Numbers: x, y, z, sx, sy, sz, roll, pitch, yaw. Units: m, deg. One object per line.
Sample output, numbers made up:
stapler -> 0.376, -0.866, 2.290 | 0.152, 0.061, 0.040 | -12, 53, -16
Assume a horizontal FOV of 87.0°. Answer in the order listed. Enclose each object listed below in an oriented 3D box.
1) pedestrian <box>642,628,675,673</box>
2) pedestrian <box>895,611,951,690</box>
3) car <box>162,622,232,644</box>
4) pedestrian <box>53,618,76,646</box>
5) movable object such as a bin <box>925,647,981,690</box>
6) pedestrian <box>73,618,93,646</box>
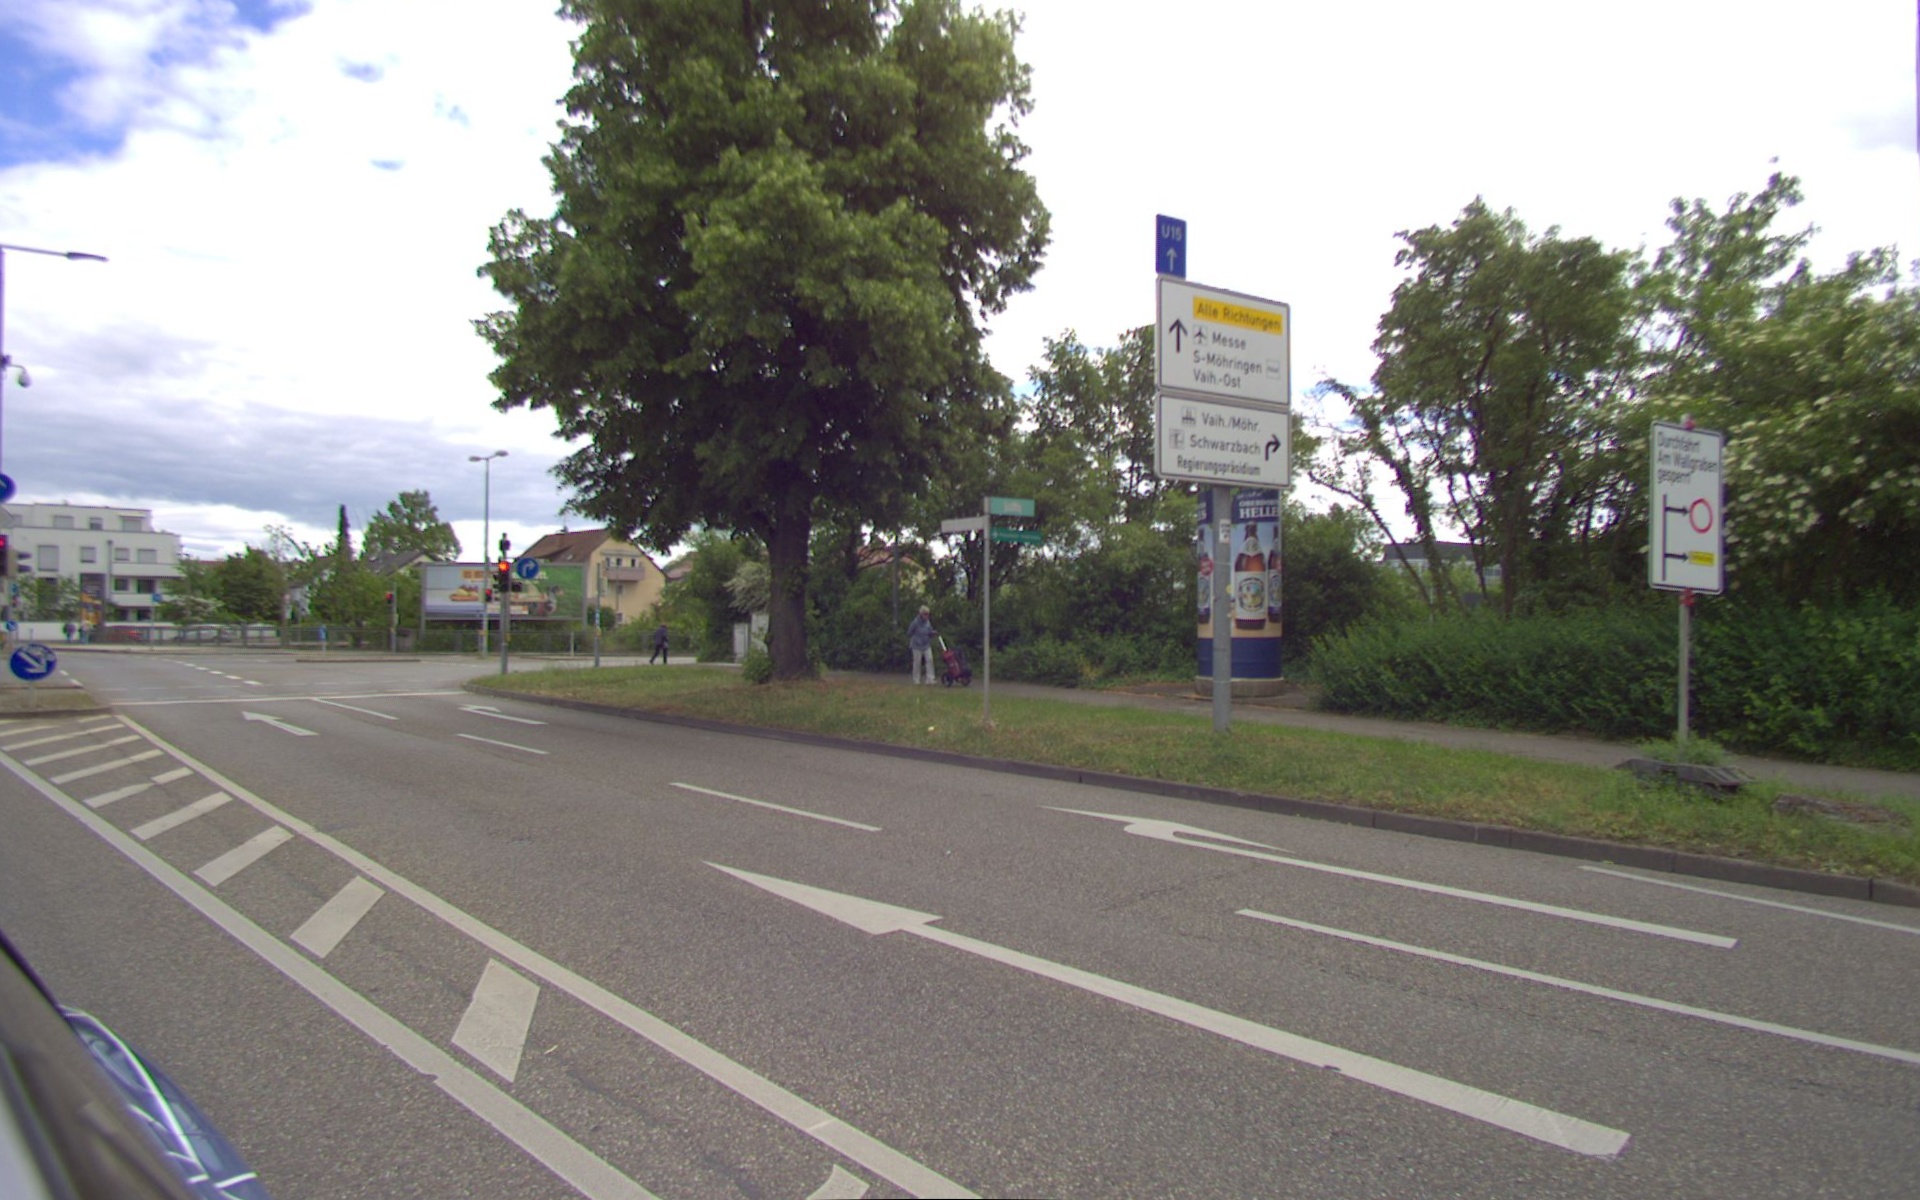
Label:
pedestrian -> -9.827, 1.633, 32.980 | 0.598, 1.418, 0.767 | 4, 1, 31
pedestrian -> -0.743, 1.000, 20.324 | 0.923, 1.534, 0.649 | -1, -3, 40
car -> -60.895, 2.663, 80.866 | 4.061, 1.547, 1.651 | 2, -4, -13
pedestrian -> -52.908, 1.877, 59.813 | 1.065, 1.646, 0.652 | -1, -1, 26
movable object such as a bin -> -0.134, 1.334, 19.804 | 0.896, 0.804, 0.649 | -1, -3, 40
pedestrian -> -52.439, 1.907, 60.506 | 0.828, 1.646, 0.652 | -1, -1, 26
